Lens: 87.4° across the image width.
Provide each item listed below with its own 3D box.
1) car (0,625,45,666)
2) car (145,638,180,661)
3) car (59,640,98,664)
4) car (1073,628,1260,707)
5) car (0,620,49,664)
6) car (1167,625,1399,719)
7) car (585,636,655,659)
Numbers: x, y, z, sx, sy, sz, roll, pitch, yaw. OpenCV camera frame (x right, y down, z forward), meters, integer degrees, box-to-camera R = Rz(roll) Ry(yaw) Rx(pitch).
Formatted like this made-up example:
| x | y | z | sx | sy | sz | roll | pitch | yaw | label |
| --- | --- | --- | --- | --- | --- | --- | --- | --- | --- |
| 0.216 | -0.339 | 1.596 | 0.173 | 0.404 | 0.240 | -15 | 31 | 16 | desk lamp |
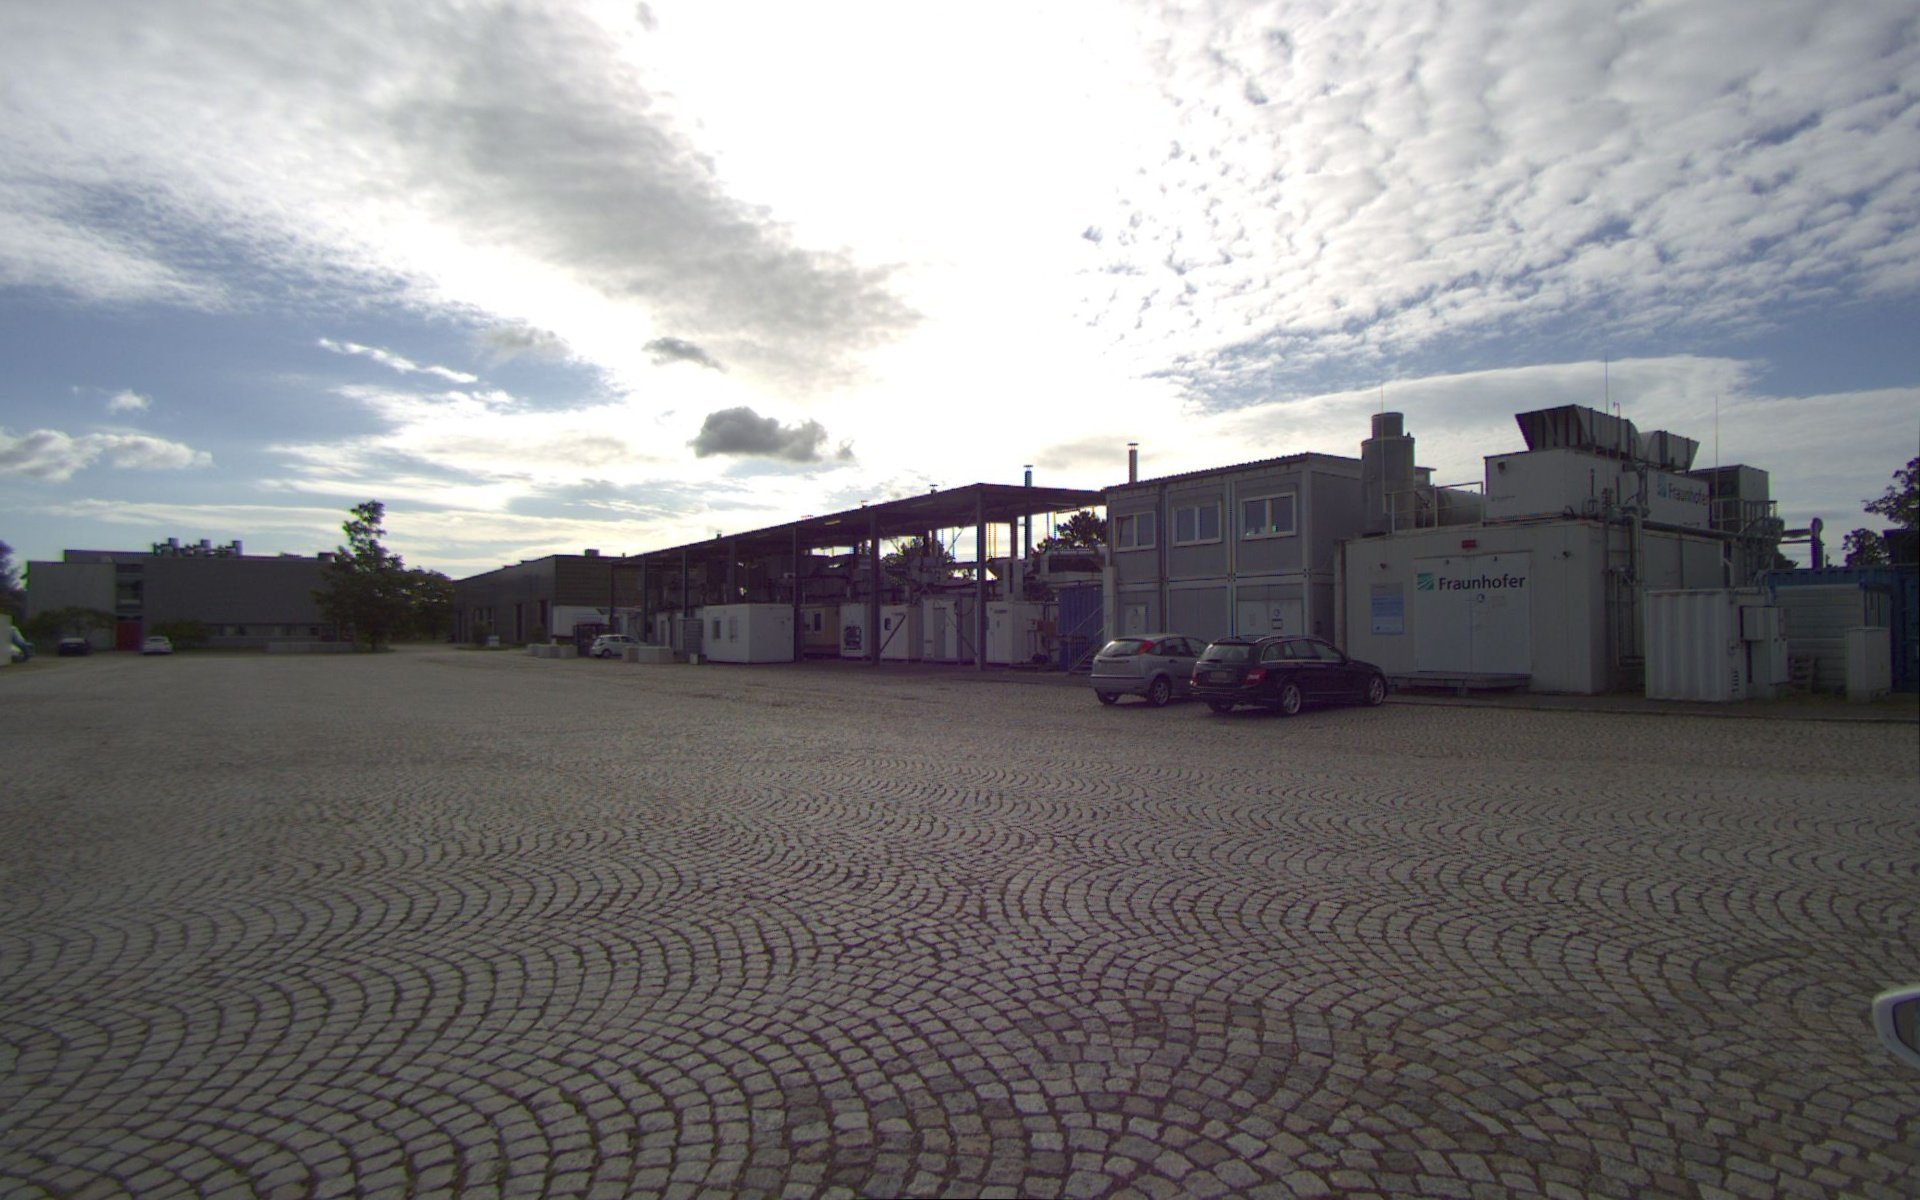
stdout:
| x | y | z | sx | sy | sz | roll | pitch | yaw | label |
| --- | --- | --- | --- | --- | --- | --- | --- | --- | --- |
| -53.666 | 2.486 | 54.551 | 5.578 | 2.248 | 2.427 | 1 | -2 | -37 | car |
| -66.955 | 4.112 | 84.338 | 2.134 | 1.834 | 3.959 | 1 | -2 | -36 | car |
| -70.880 | 4.146 | 80.823 | 1.981 | 1.834 | 3.959 | 1 | -2 | -36 | car |
| 4.603 | 1.417 | 22.121 | 4.011 | 1.495 | 1.892 | -1 | -1 | -38 | car |
| -59.288 | 2.569 | 60.997 | 5.578 | 2.649 | 2.427 | 1 | -2 | -37 | car |
| 6.302 | 1.304 | 19.404 | 4.486 | 1.472 | 2.022 | -1 | -1 | -36 | car |
| -22.475 | 3.119 | 66.400 | 3.964 | 1.512 | 1.979 | 1 | -2 | -38 | car |
